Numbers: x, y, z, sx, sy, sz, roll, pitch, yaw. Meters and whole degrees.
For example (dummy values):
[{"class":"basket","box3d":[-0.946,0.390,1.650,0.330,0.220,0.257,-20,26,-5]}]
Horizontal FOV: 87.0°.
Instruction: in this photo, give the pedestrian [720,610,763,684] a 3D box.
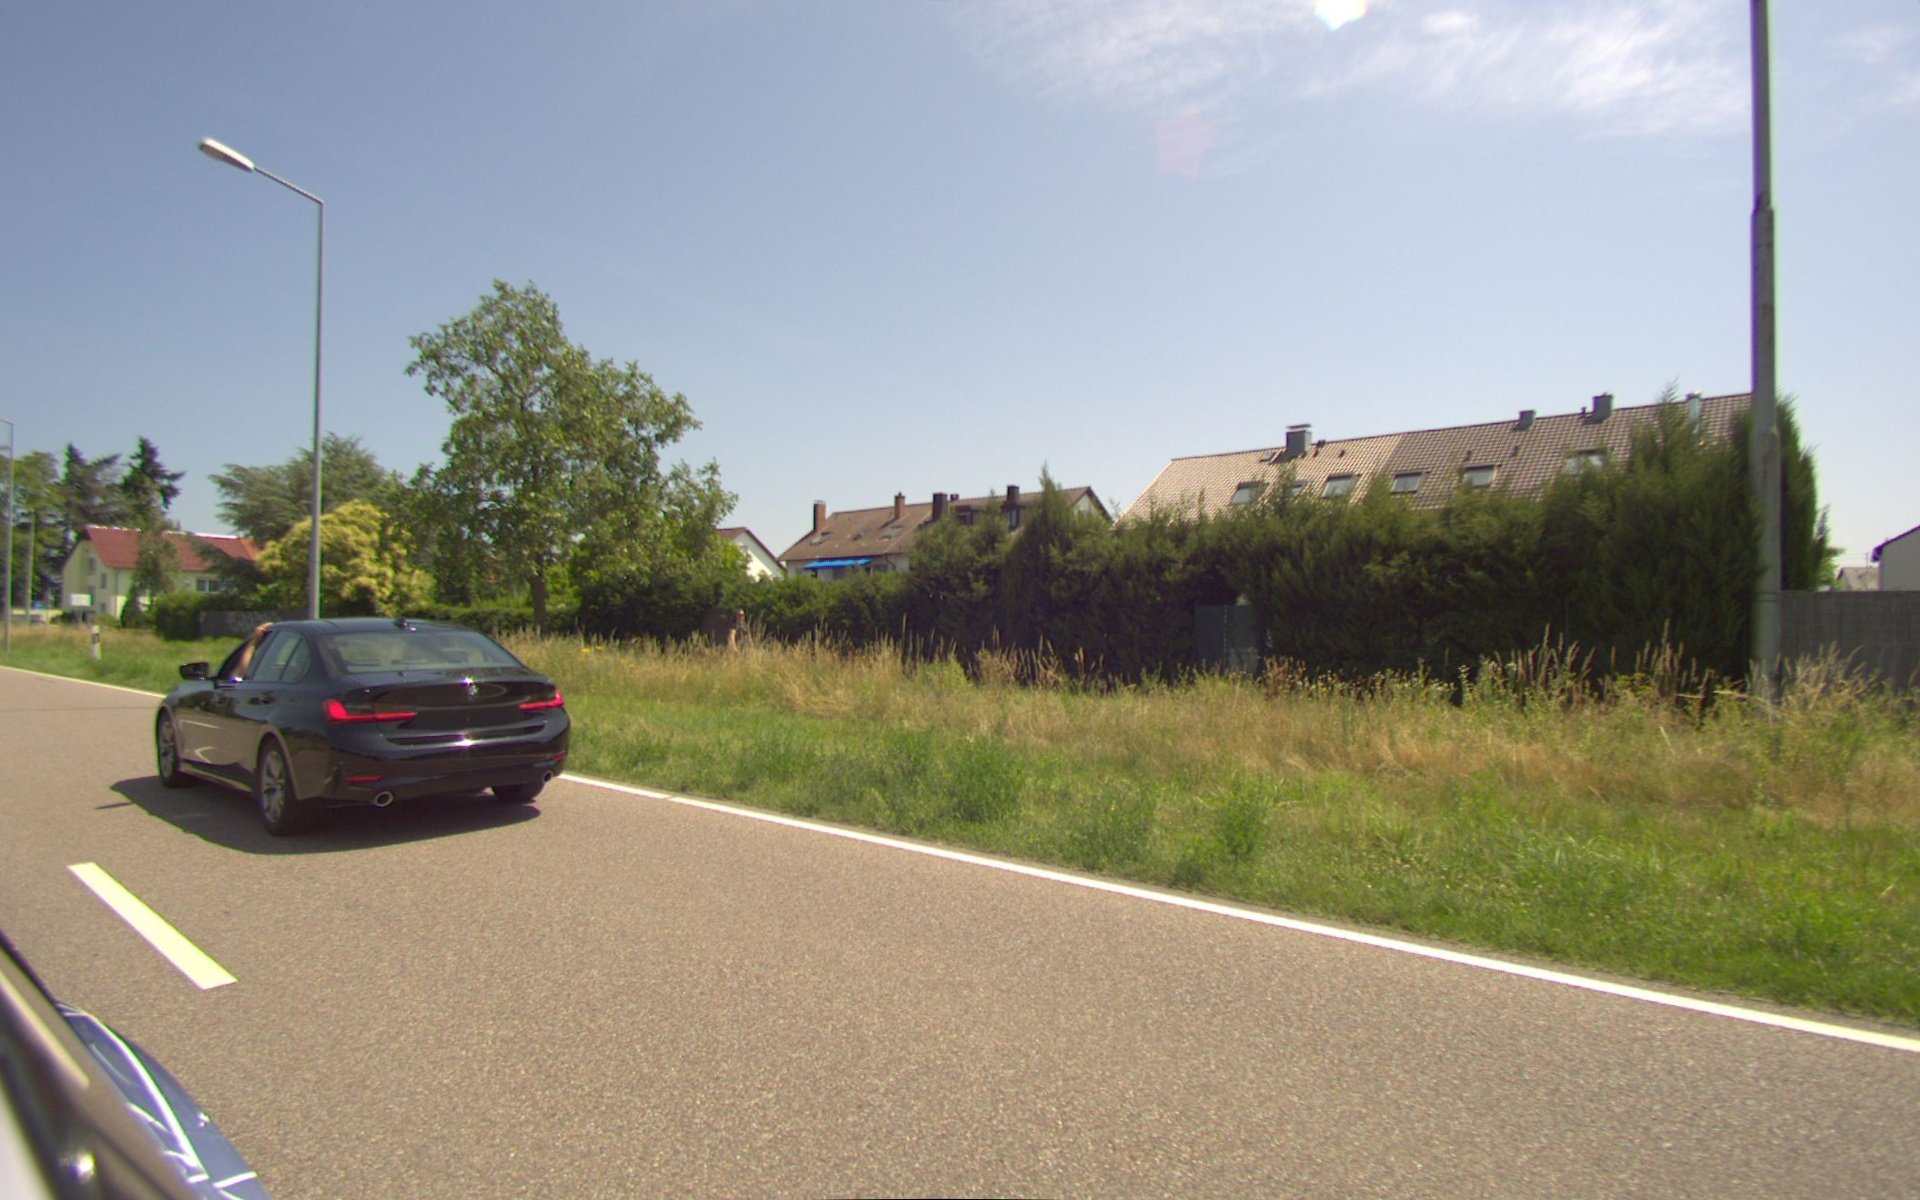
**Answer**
[{"class":"pedestrian","box3d":[-4.509,0.958,20.875,0.633,1.489,0.603,-1,-1,40]}]

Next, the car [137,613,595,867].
[{"class":"car","box3d":[-4.823,0.814,7.871,4.705,1.415,1.688,-1,-1,41]}]
